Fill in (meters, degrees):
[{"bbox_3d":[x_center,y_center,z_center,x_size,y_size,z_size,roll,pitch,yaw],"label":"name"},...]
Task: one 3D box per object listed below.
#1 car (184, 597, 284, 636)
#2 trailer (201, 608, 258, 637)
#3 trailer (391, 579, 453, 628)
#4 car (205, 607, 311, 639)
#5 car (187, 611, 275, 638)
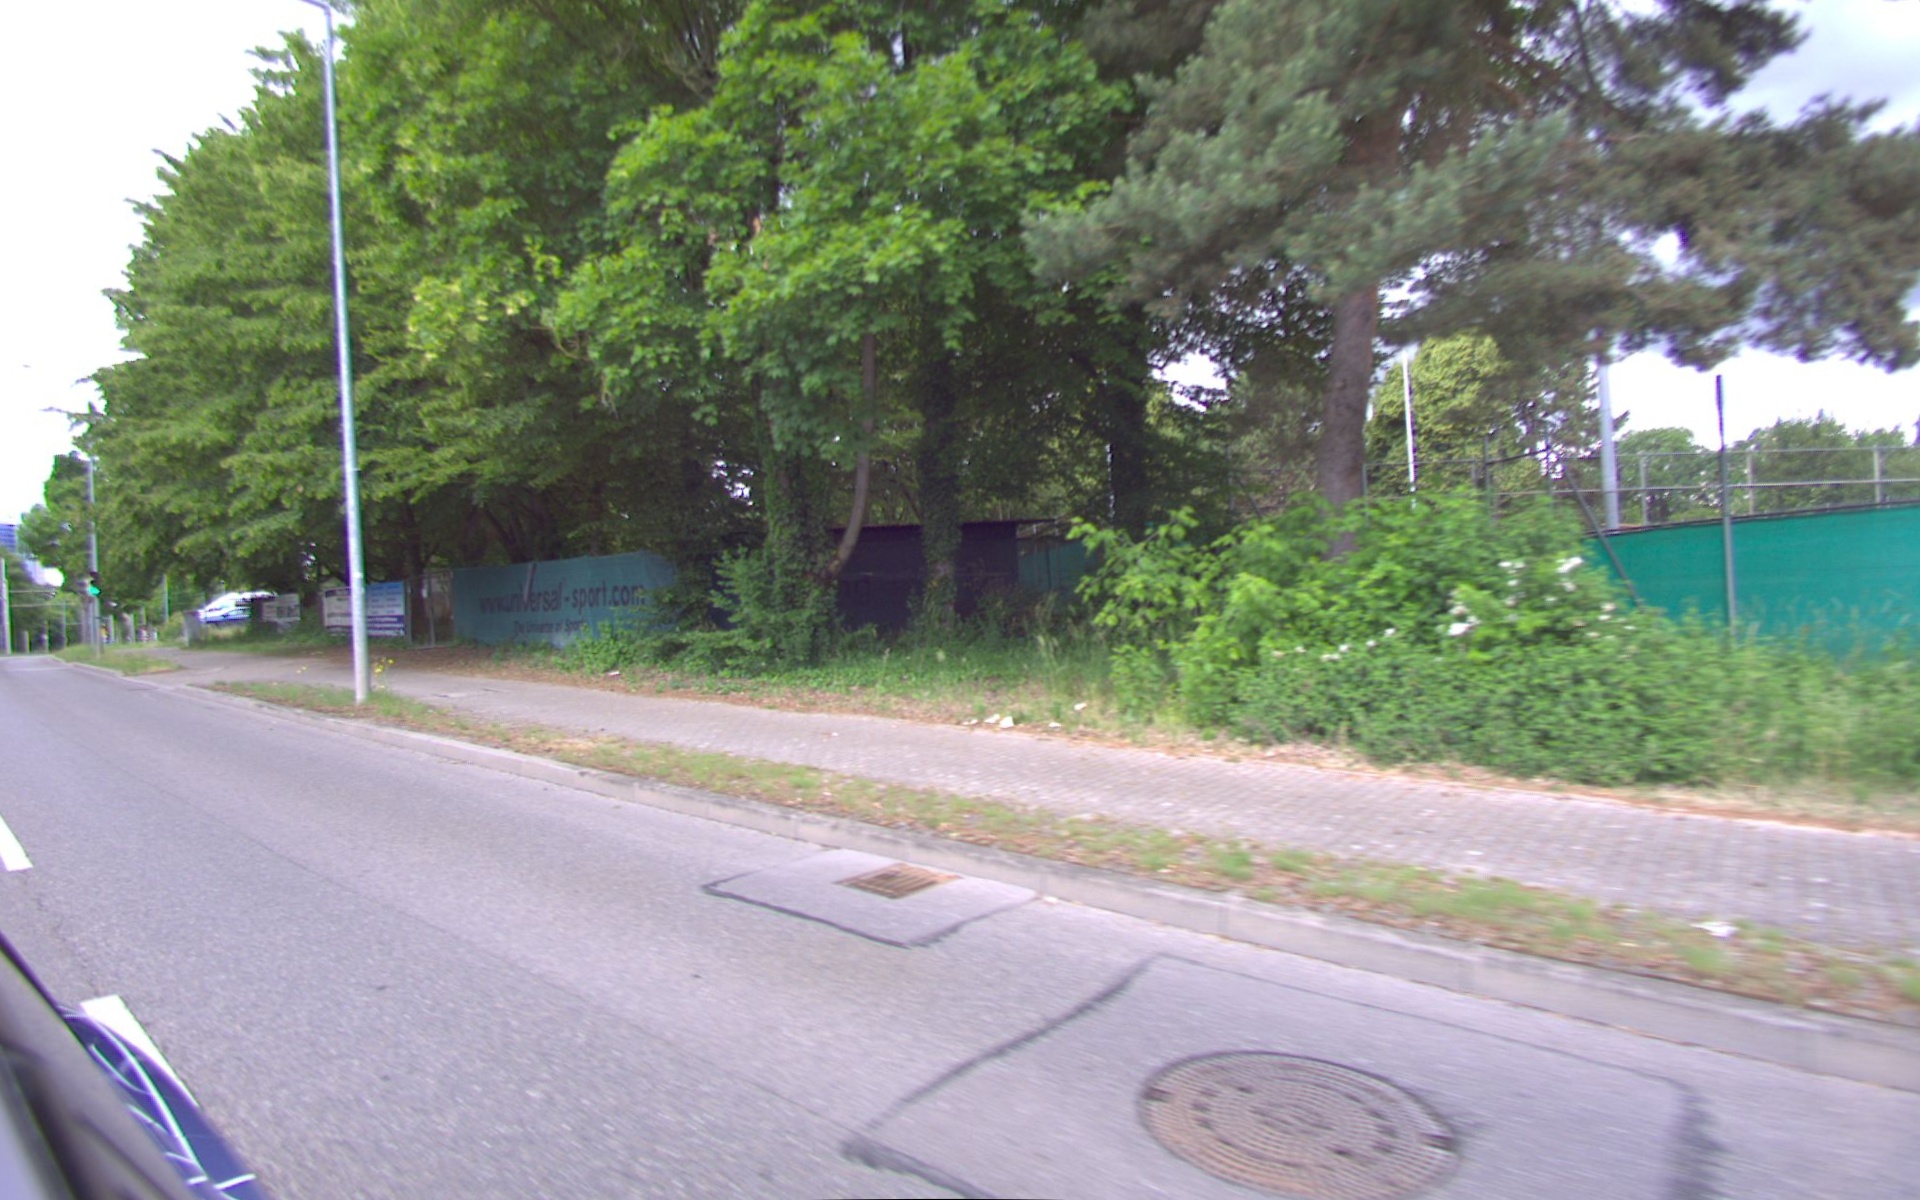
[{"bbox_3d":[-46.762,1.033,65.245,5.090,2.122,2.219,-3,-1,-37],"label":"car"},{"bbox_3d":[-55.587,1.699,77.057,3.320,2.074,1.683,-2,-1,-33],"label":"trailer"},{"bbox_3d":[-36.723,0.267,68.971,2.614,3.097,7.212,-3,1,-36],"label":"trailer"},{"bbox_3d":[-41.790,1.360,60.302,5.090,1.573,1.890,-3,-1,-37],"label":"car"},{"bbox_3d":[-44.973,1.503,62.474,4.321,1.326,1.566,-3,-1,-37],"label":"car"}]
